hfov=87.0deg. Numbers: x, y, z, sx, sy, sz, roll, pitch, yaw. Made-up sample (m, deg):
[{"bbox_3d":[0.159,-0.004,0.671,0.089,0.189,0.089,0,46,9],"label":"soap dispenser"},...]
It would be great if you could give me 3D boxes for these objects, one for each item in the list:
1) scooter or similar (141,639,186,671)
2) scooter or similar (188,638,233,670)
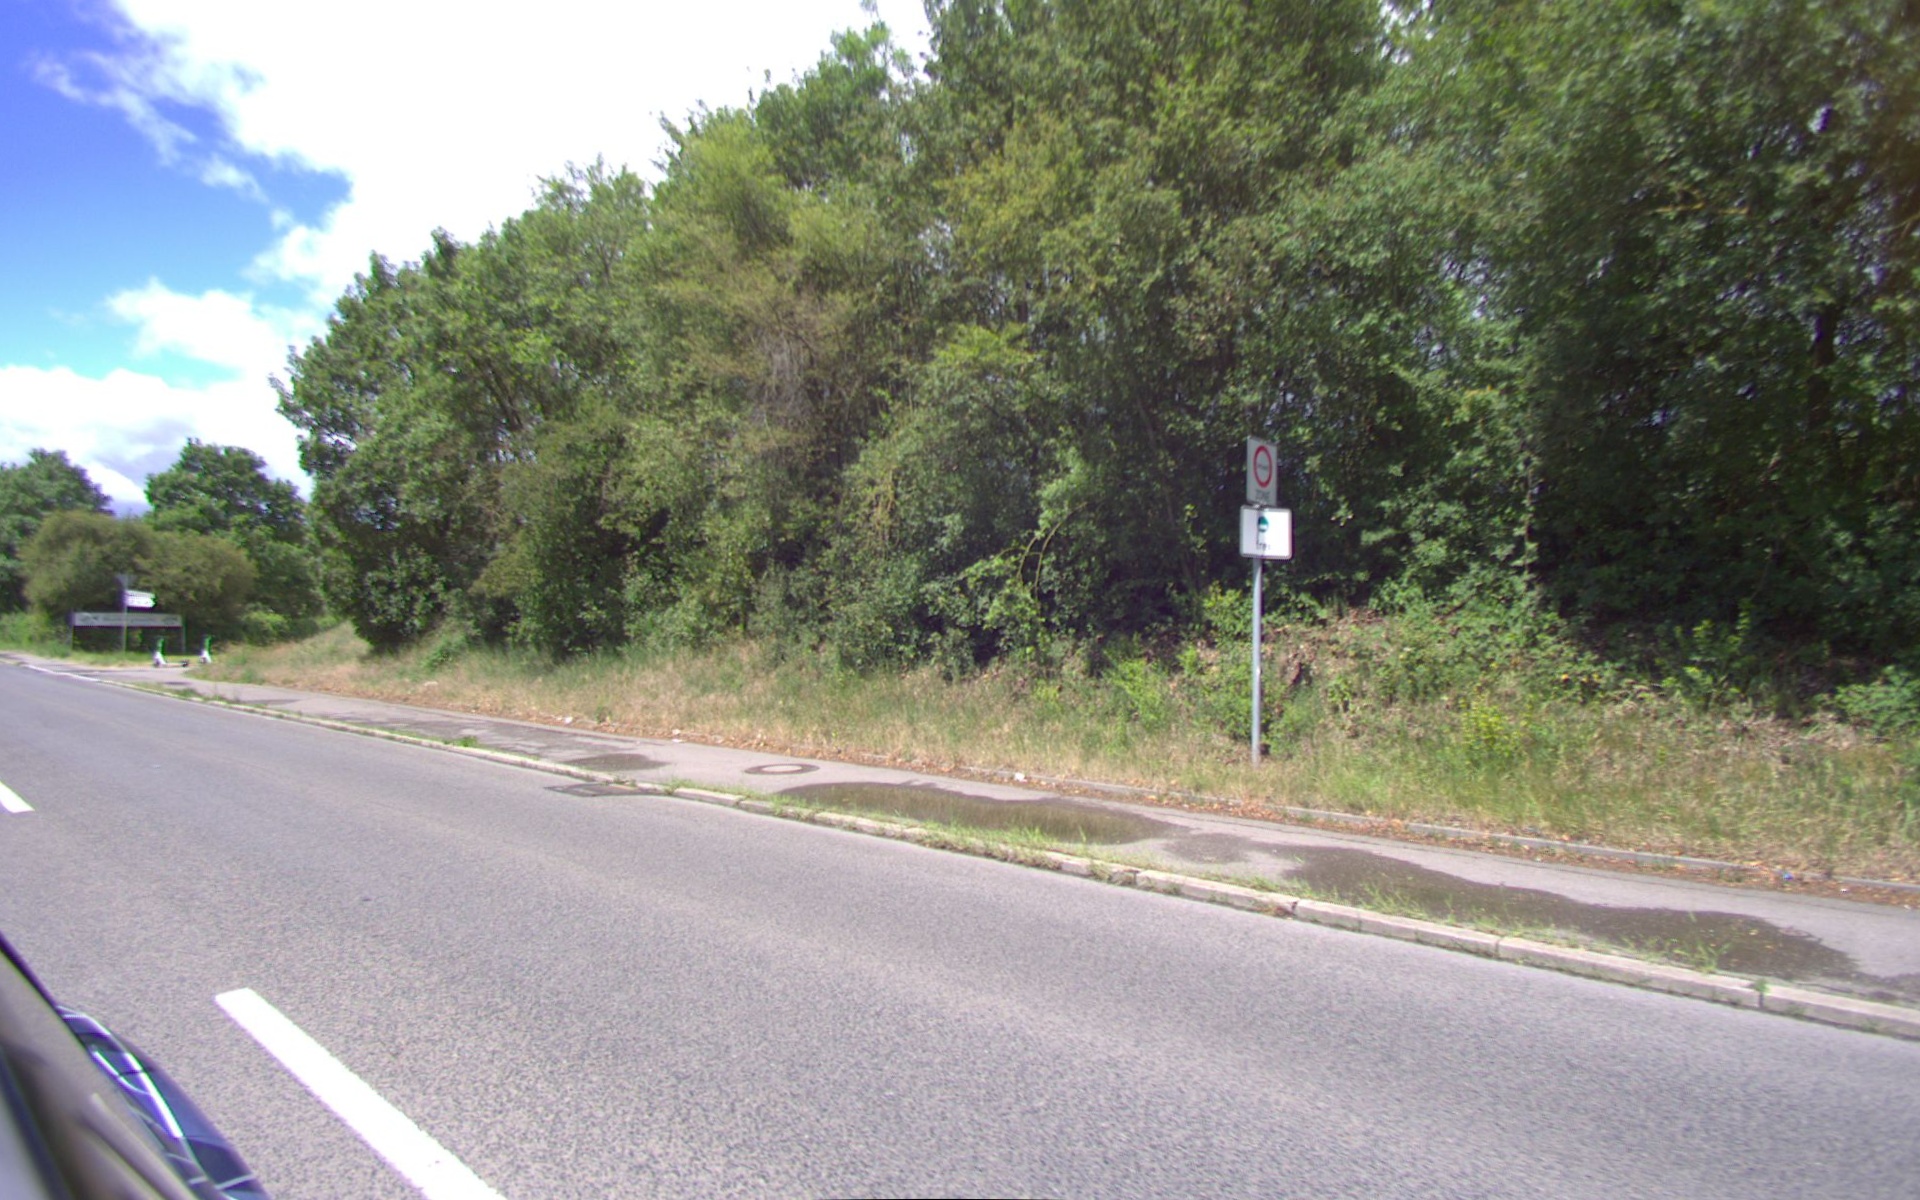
[{"bbox_3d":[-29.485,2.030,37.458,1.331,1.177,0.407,-1,-1,-2],"label":"scooter or similar"},{"bbox_3d":[-28.146,2.016,38.005,1.329,1.177,0.407,-1,-1,-8],"label":"scooter or similar"}]
